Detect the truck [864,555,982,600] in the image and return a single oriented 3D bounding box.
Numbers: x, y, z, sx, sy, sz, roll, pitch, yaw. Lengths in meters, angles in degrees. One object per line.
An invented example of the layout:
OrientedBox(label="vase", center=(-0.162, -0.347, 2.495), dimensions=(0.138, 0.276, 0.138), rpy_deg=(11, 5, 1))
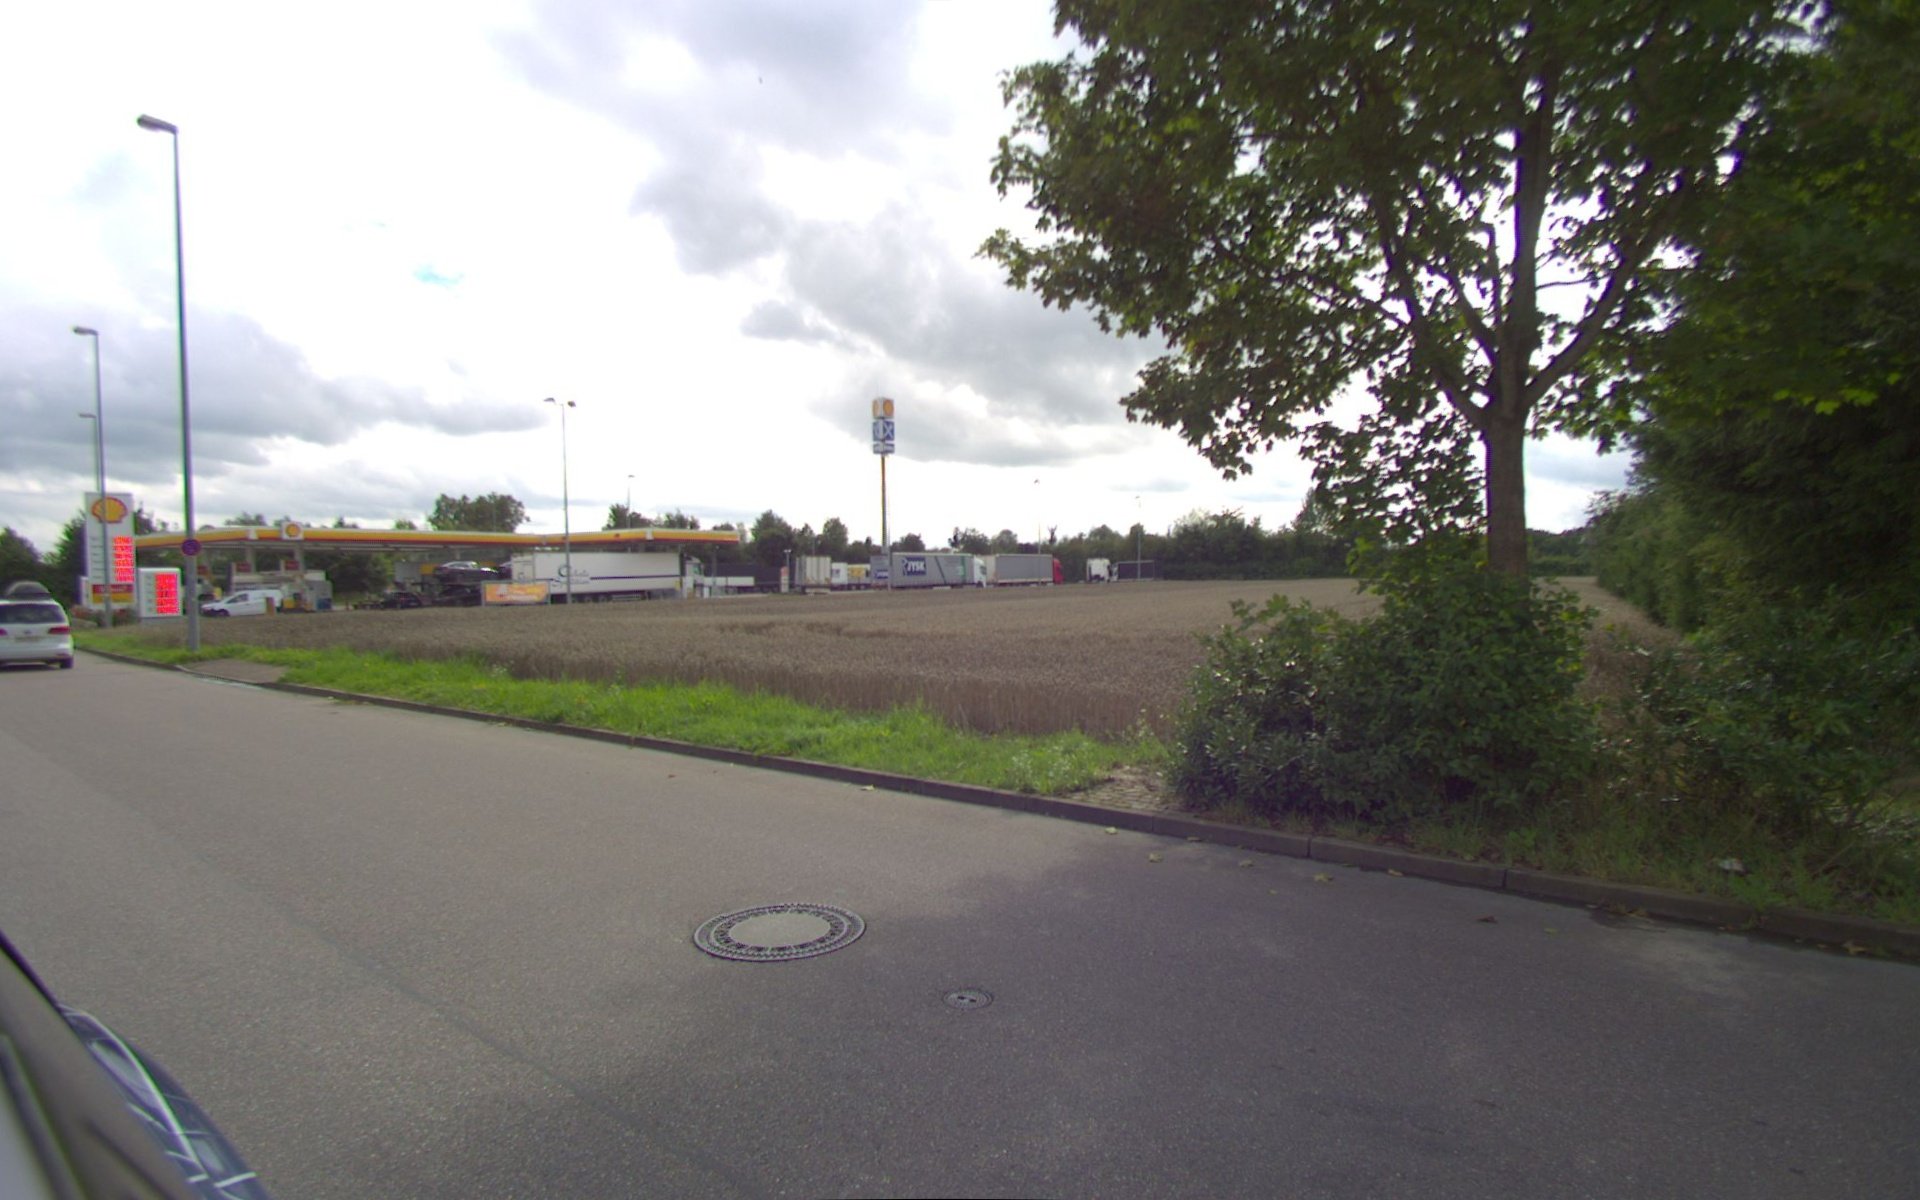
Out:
OrientedBox(label="truck", center=(-3.185, -2.231, 96.576), dimensions=(2.817, 3.922, 15.284), rpy_deg=(0, 2, 34))

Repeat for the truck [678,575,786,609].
OrientedBox(label="truck", center=(-27.806, -1.017, 123.586), dimensions=(12.595, 3.922, 2.832), rpy_deg=(-1, 1, -13))

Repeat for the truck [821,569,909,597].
OrientedBox(label="truck", center=(-13.999, -2.531, 148.791), dimensions=(12.595, 3.922, 2.832), rpy_deg=(-1, 1, -13))

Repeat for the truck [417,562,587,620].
OrientedBox(label="truck", center=(-33.826, -0.816, 75.739), dimensions=(2.735, 3.952, 13.153), rpy_deg=(0, 2, 24))

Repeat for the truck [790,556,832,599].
OrientedBox(label="truck", center=(-15.496, -2.337, 104.307), dimensions=(2.914, 4.143, 14.789), rpy_deg=(-1, 2, -13))

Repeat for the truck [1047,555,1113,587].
OrientedBox(label="truck", center=(15.319, -3.673, 127.648), dimensions=(2.817, 3.922, 12.662), rpy_deg=(0, 2, 34))

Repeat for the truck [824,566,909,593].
OrientedBox(label="truck", center=(-14.313, -3.211, 154.563), dimensions=(12.595, 3.922, 2.832), rpy_deg=(-1, 1, -13))

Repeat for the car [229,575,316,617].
OrientedBox(label="car", center=(-48.733, -0.322, 71.886), dimensions=(2.193, 2.807, 5.809), rpy_deg=(-2, 1, 0))

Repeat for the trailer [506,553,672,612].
OrientedBox(label="trailer", center=(-27.576, -1.401, 76.282), dimensions=(2.703, 4.055, 12.711), rpy_deg=(-1, 1, 31))

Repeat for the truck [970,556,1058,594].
OrientedBox(label="truck", center=(6.257, -2.855, 112.610), dimensions=(2.815, 3.922, 15.297), rpy_deg=(0, 2, 31))

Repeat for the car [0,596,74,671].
OrientedBox(label="car", center=(-22.625, 0.752, 24.134), dimensions=(4.029, 1.678, 1.681), rpy_deg=(0, 0, 41))

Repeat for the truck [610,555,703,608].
OrientedBox(label="truck", center=(-24.363, -1.511, 81.542), dimensions=(2.703, 4.055, 7.093), rpy_deg=(-1, 1, 31))

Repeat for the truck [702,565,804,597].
OrientedBox(label="truck", center=(-26.685, -2.484, 130.747), dimensions=(12.798, 3.922, 2.831), rpy_deg=(-1, 1, -12))
